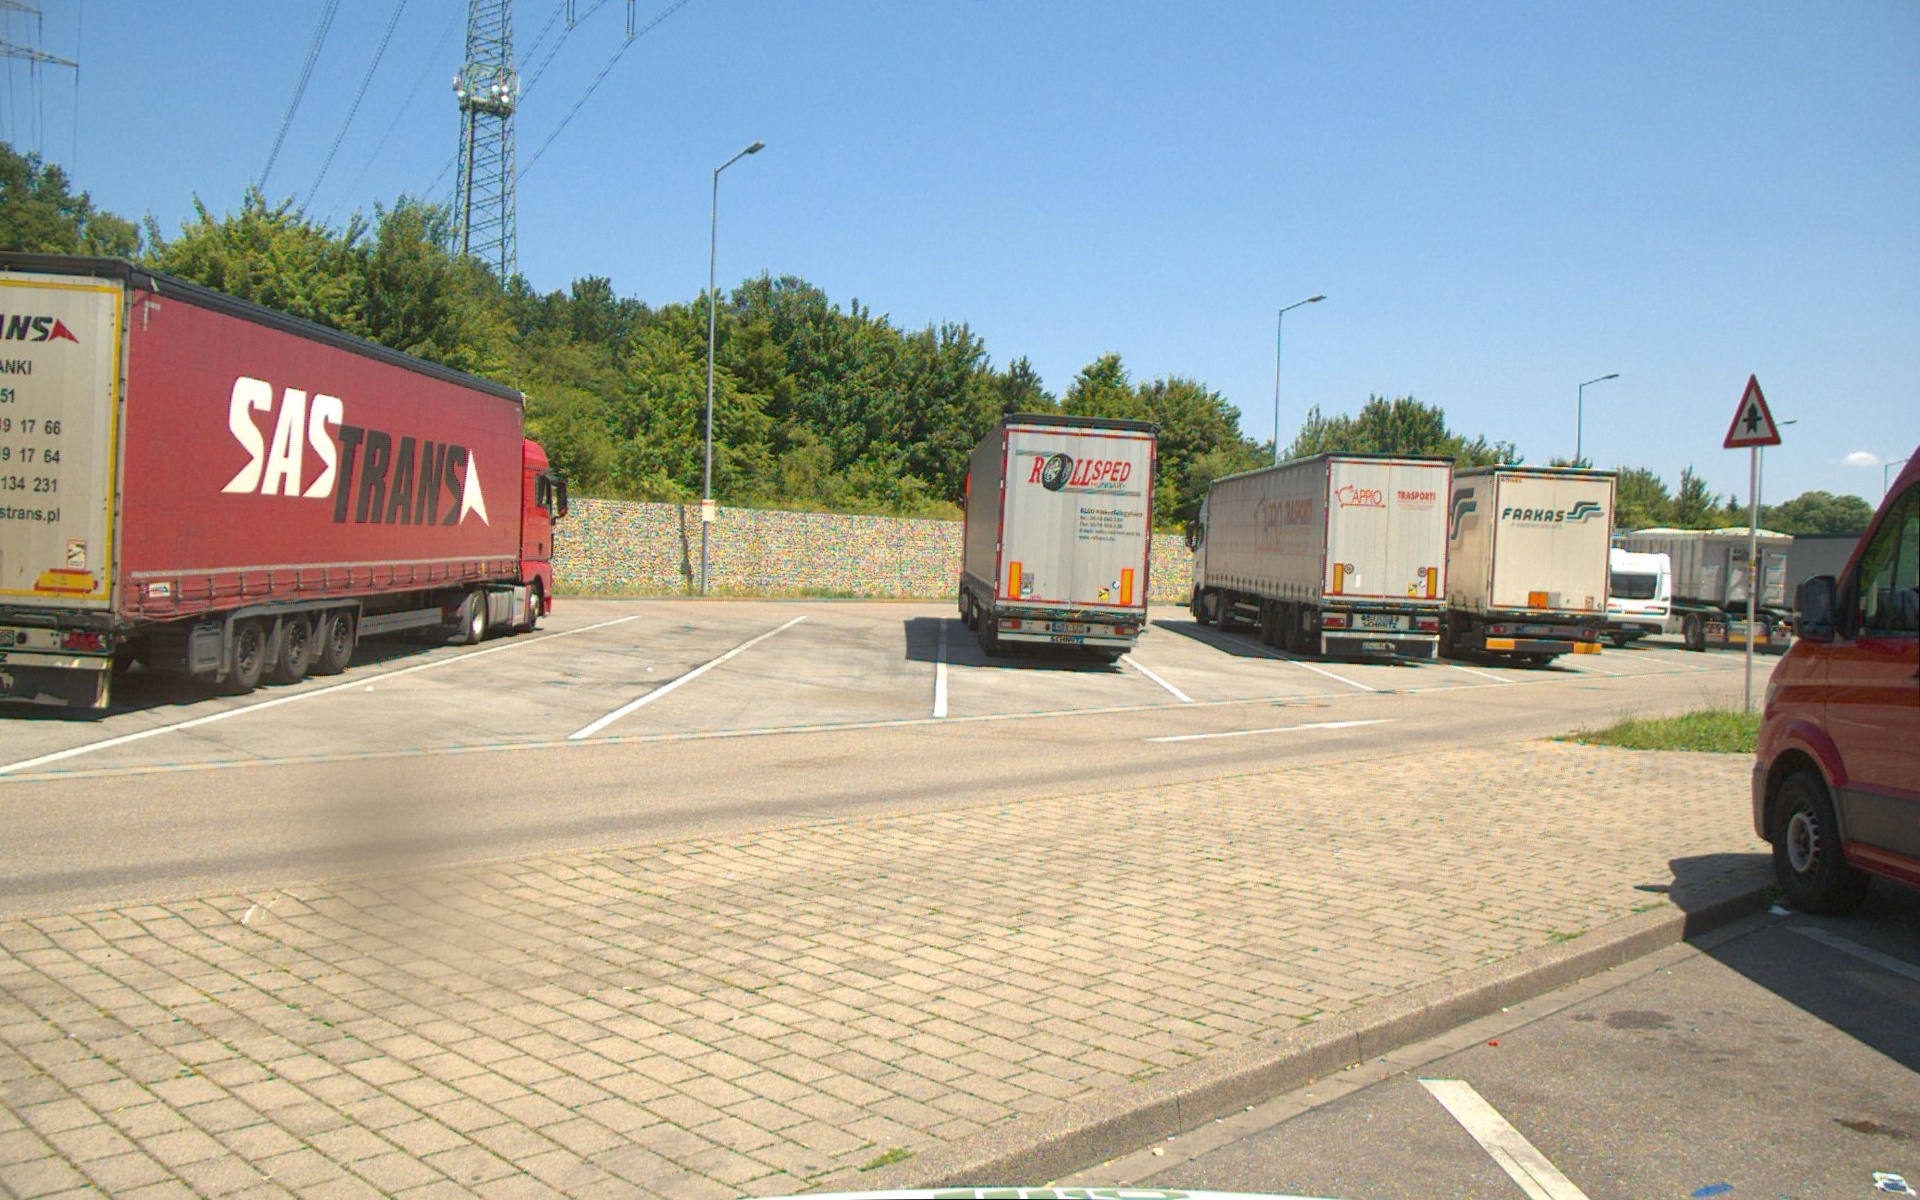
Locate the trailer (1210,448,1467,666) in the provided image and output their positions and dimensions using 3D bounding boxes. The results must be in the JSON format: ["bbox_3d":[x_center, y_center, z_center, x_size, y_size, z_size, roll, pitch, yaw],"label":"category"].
[{"bbox_3d":[8.242,-1.085,38.109,2.808,4.107,12.438,2,2,-1],"label":"trailer"}]

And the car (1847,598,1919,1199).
[{"bbox_3d":[2.539,0.799,1.116,1.584,1.509,3.762,1,1,-6],"label":"car"}]

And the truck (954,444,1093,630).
[{"bbox_3d":[1.420,-1.563,40.754,2.809,4.107,7.026,2,2,-2],"label":"truck"}]

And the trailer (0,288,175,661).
[{"bbox_3d":[-12.549,-1.405,17.164,2.756,4.341,12.940,2,2,-1],"label":"trailer"}]

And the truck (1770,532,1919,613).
[{"bbox_3d":[34.696,-1.059,63.642,2.082,2.869,9.777,1,1,-1],"label":"truck"}]

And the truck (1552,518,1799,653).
[{"bbox_3d":[21.743,-0.642,51.249,2.437,3.630,11.423,2,2,-1],"label":"truck"}]

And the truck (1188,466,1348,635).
[{"bbox_3d":[8.162,-1.381,44.739,2.808,4.107,6.956,2,2,-1],"label":"truck"}]

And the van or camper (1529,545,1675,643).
[{"bbox_3d":[18.263,-0.216,47.352,2.061,2.606,5.372,1,1,0],"label":"van or camper"}]

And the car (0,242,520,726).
[{"bbox_3d":[-8.679,-1.279,20.963,2.641,4.184,12.935,2,2,0],"label":"car"}]

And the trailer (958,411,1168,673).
[{"bbox_3d":[1.650,-1.237,33.673,2.809,4.107,14.238,2,2,-2],"label":"trailer"}]

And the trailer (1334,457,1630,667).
[{"bbox_3d":[11.819,-1.019,39.227,2.808,4.107,12.438,2,2,-1],"label":"trailer"}]

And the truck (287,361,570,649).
[{"bbox_3d":[-8.700,-1.528,27.880,2.641,4.184,6.239,2,2,0],"label":"truck"}]

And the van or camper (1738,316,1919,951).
[{"bbox_3d":[4.988,0.178,5.563,1.954,2.700,6.482,1,1,3],"label":"van or camper"}]
